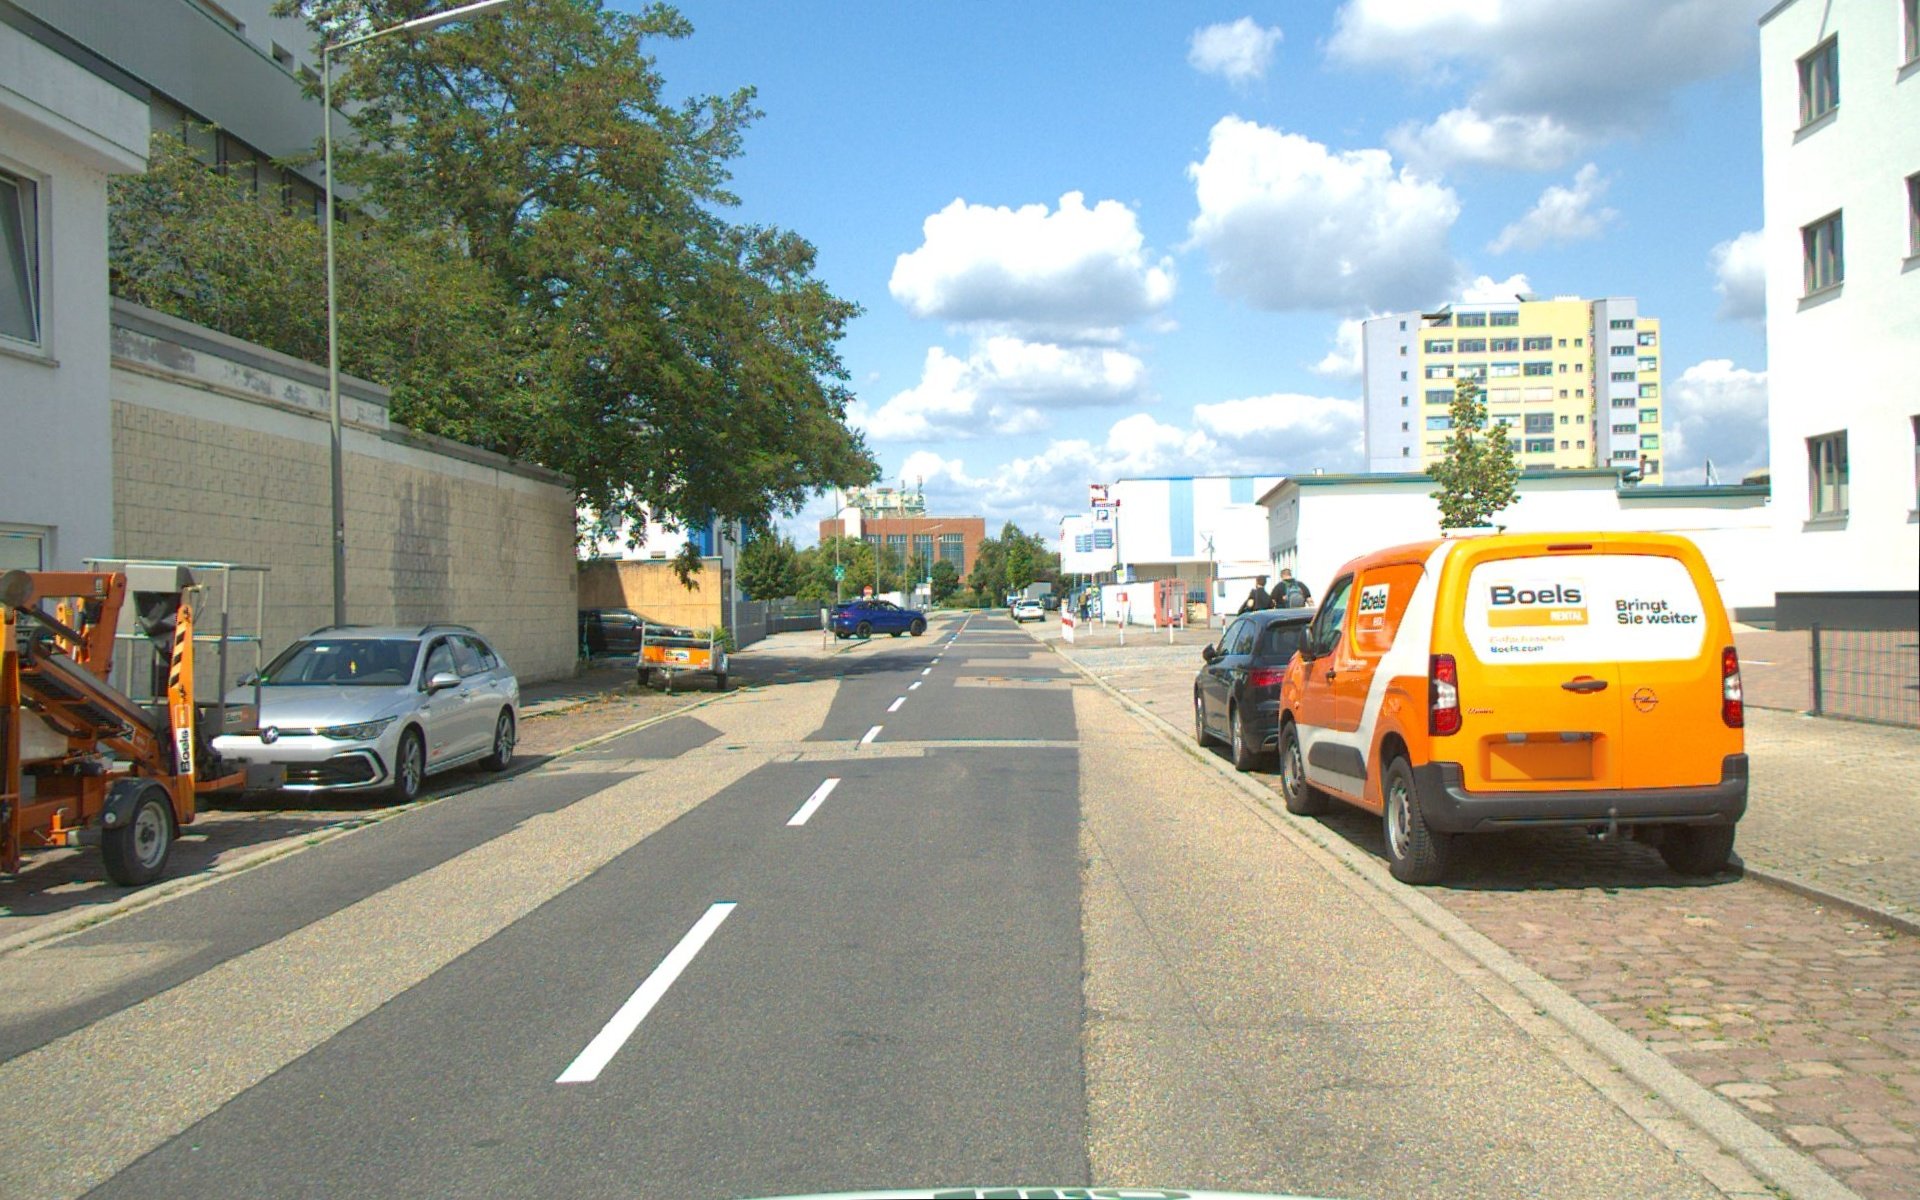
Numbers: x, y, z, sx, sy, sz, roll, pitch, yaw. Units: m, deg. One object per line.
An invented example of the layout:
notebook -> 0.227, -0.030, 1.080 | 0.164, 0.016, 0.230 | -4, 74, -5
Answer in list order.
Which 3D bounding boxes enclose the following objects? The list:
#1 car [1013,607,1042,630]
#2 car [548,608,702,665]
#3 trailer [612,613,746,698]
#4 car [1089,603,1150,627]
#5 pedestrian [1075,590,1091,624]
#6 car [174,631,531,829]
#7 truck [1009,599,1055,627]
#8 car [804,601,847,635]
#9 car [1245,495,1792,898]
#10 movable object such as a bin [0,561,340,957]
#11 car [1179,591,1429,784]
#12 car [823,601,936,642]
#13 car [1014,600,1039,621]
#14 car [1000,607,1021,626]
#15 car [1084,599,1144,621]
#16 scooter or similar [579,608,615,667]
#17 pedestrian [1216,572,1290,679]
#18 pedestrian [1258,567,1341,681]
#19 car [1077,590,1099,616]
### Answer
car -> 4.612, 1.247, 113.424 | 1.829, 1.547, 4.598 | -1, -1, 0
car -> -9.583, 1.045, 47.445 | 3.909, 1.386, 1.795 | 3, -1, 4
trailer -> -5.295, 1.005, 31.651 | 1.730, 1.464, 4.336 | 2, -1, 1
car -> 10.557, 1.009, 109.712 | 3.904, 1.445, 2.000 | -2, 0, 1
pedestrian -> 6.820, 0.389, 91.776 | 0.753, 1.787, 0.787 | -3, -1, 0
car -> -5.315, 1.054, 15.137 | 1.639, 1.481, 4.512 | 1, -1, -1
truck -> 10.166, 1.766, 232.742 | 2.278, 3.630, 9.346 | 0, 1, 31
car -> -7.117, 0.958, 87.738 | 1.829, 1.738, 4.753 | 0, -1, 0
car -> 3.192, 0.505, 10.518 | 1.834, 1.925, 4.451 | 3, -1, -1
movable object such as a bin -> -5.494, 0.756, 9.843 | 1.581, 1.952, 5.138 | 3, 0, 0
car -> 3.183, 0.761, 16.065 | 1.625, 1.585, 4.178 | 1, -1, 2
car -> -3.582, 0.955, 73.583 | 4.636, 1.621, 1.897 | -2, 0, -30
car -> 5.051, 0.808, 126.234 | 1.797, 1.547, 4.461 | -1, -1, 0
car -> 4.429, 1.438, 145.008 | 1.718, 1.679, 4.679 | -1, -1, 3
car -> 11.124, 0.728, 119.703 | 4.191, 1.445, 2.000 | -2, 0, 1
scooter or similar -> -8.256, 0.842, 37.664 | 0.472, 1.301, 1.361 | 1, -1, 1
pedestrian -> 5.194, 0.440, 29.326 | 0.844, 1.839, 0.999 | -2, -1, -22
pedestrian -> 6.098, 0.432, 29.736 | 0.976, 1.986, 1.084 | -2, -1, -22
car -> 12.579, 0.314, 162.695 | 1.884, 2.507, 5.260 | -1, -1, 1
